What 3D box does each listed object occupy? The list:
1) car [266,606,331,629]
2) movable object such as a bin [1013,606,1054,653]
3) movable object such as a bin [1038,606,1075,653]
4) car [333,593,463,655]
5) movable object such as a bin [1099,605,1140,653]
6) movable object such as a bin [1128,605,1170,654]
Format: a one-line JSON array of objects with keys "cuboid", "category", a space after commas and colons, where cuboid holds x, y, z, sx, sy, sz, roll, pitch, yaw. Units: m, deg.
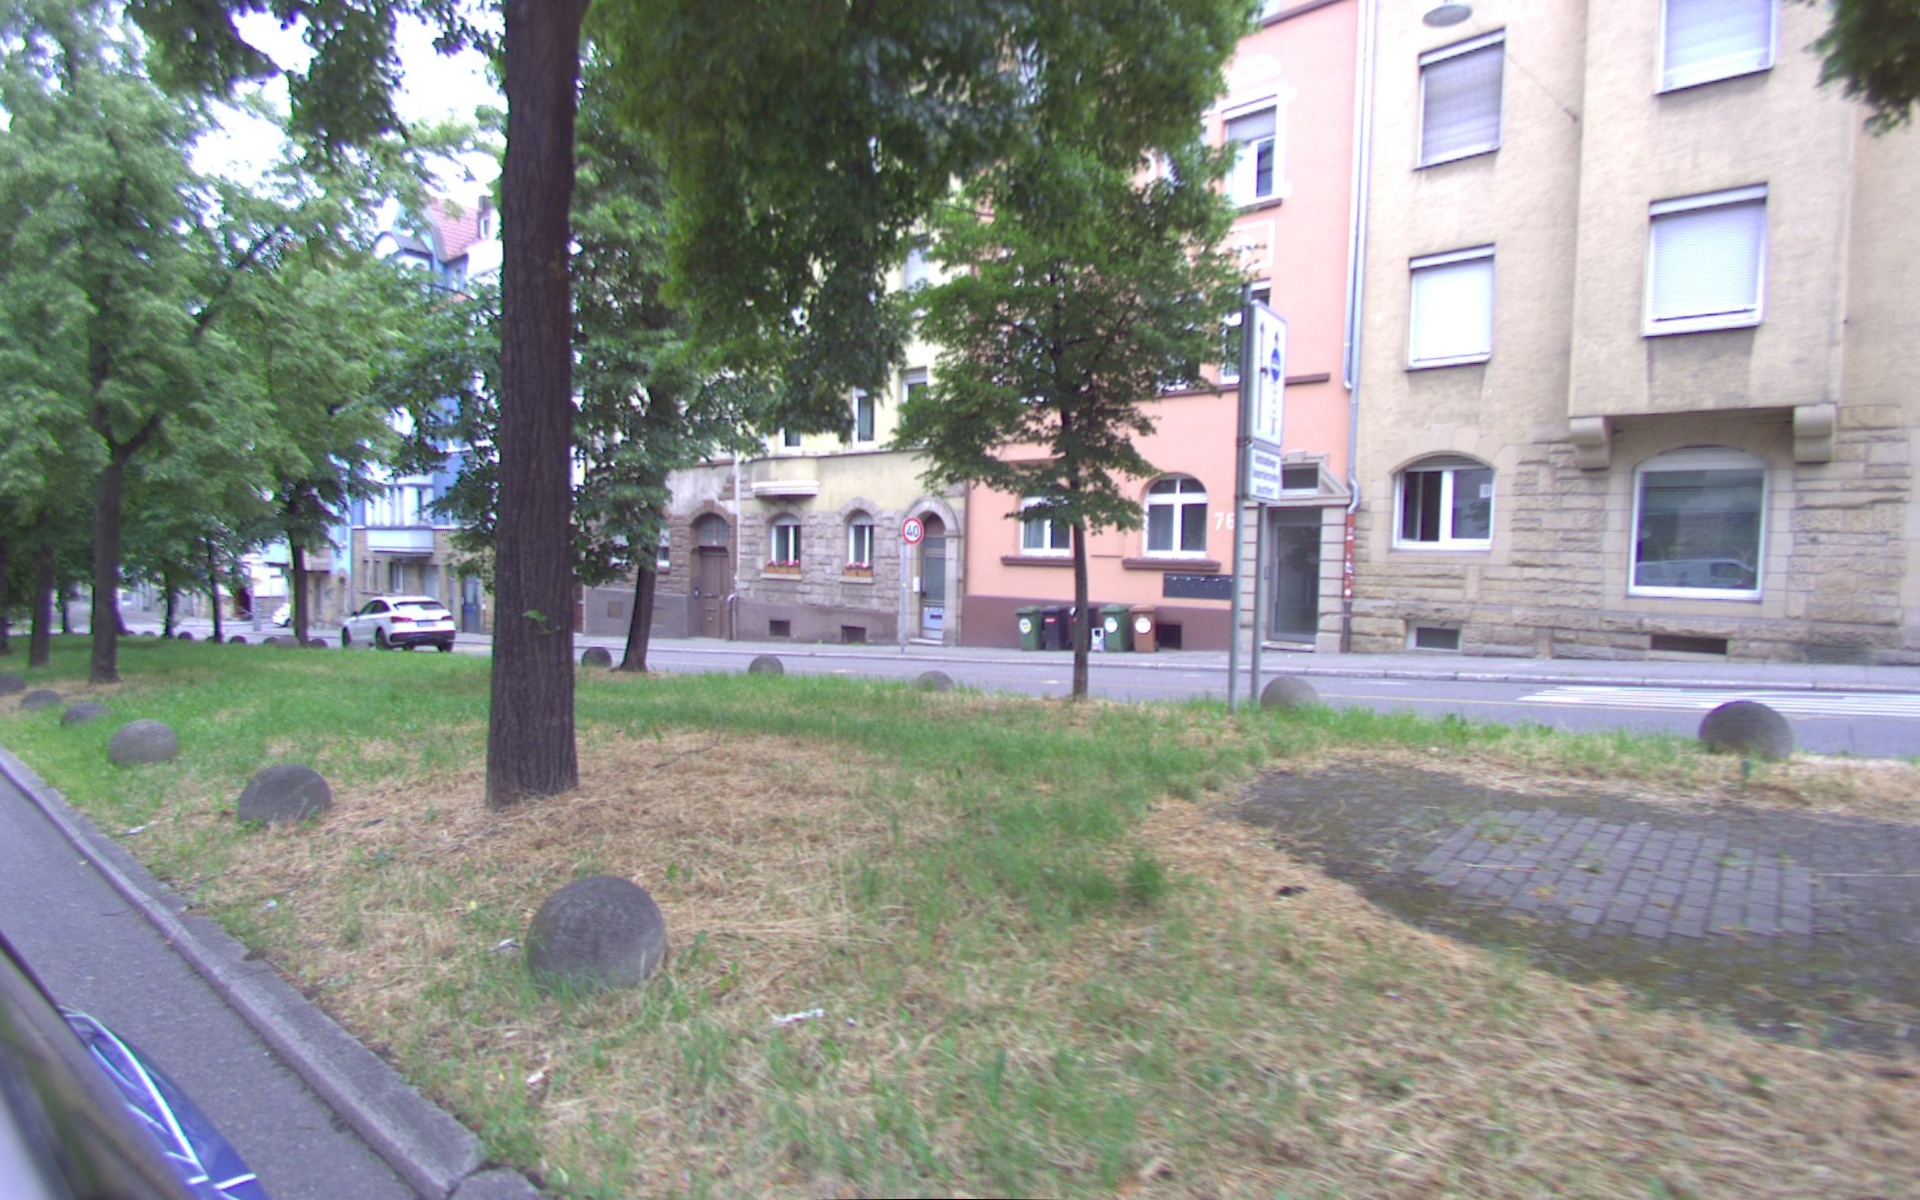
[{"cuboid": [-41.520, 1.077, 63.518, 3.244, 1.341, 1.674, -1, 0, -40], "category": "car"}, {"cuboid": [1.548, 0.610, 21.372, 0.617, 0.955, 0.610, -1, 0, 40], "category": "movable object such as a bin"}, {"cuboid": [2.000, 0.608, 20.969, 0.531, 0.953, 0.575, -1, 0, 35], "category": "movable object such as a bin"}, {"cuboid": [-16.326, 0.713, 29.314, 4.488, 1.640, 1.875, -2, -1, 41], "category": "car"}, {"cuboid": [3.147, 0.562, 19.969, 0.558, 0.928, 0.648, -1, 0, 36], "category": "movable object such as a bin"}, {"cuboid": [3.652, 0.559, 19.543, 0.514, 0.928, 0.750, -1, 0, 36], "category": "movable object such as a bin"}]
